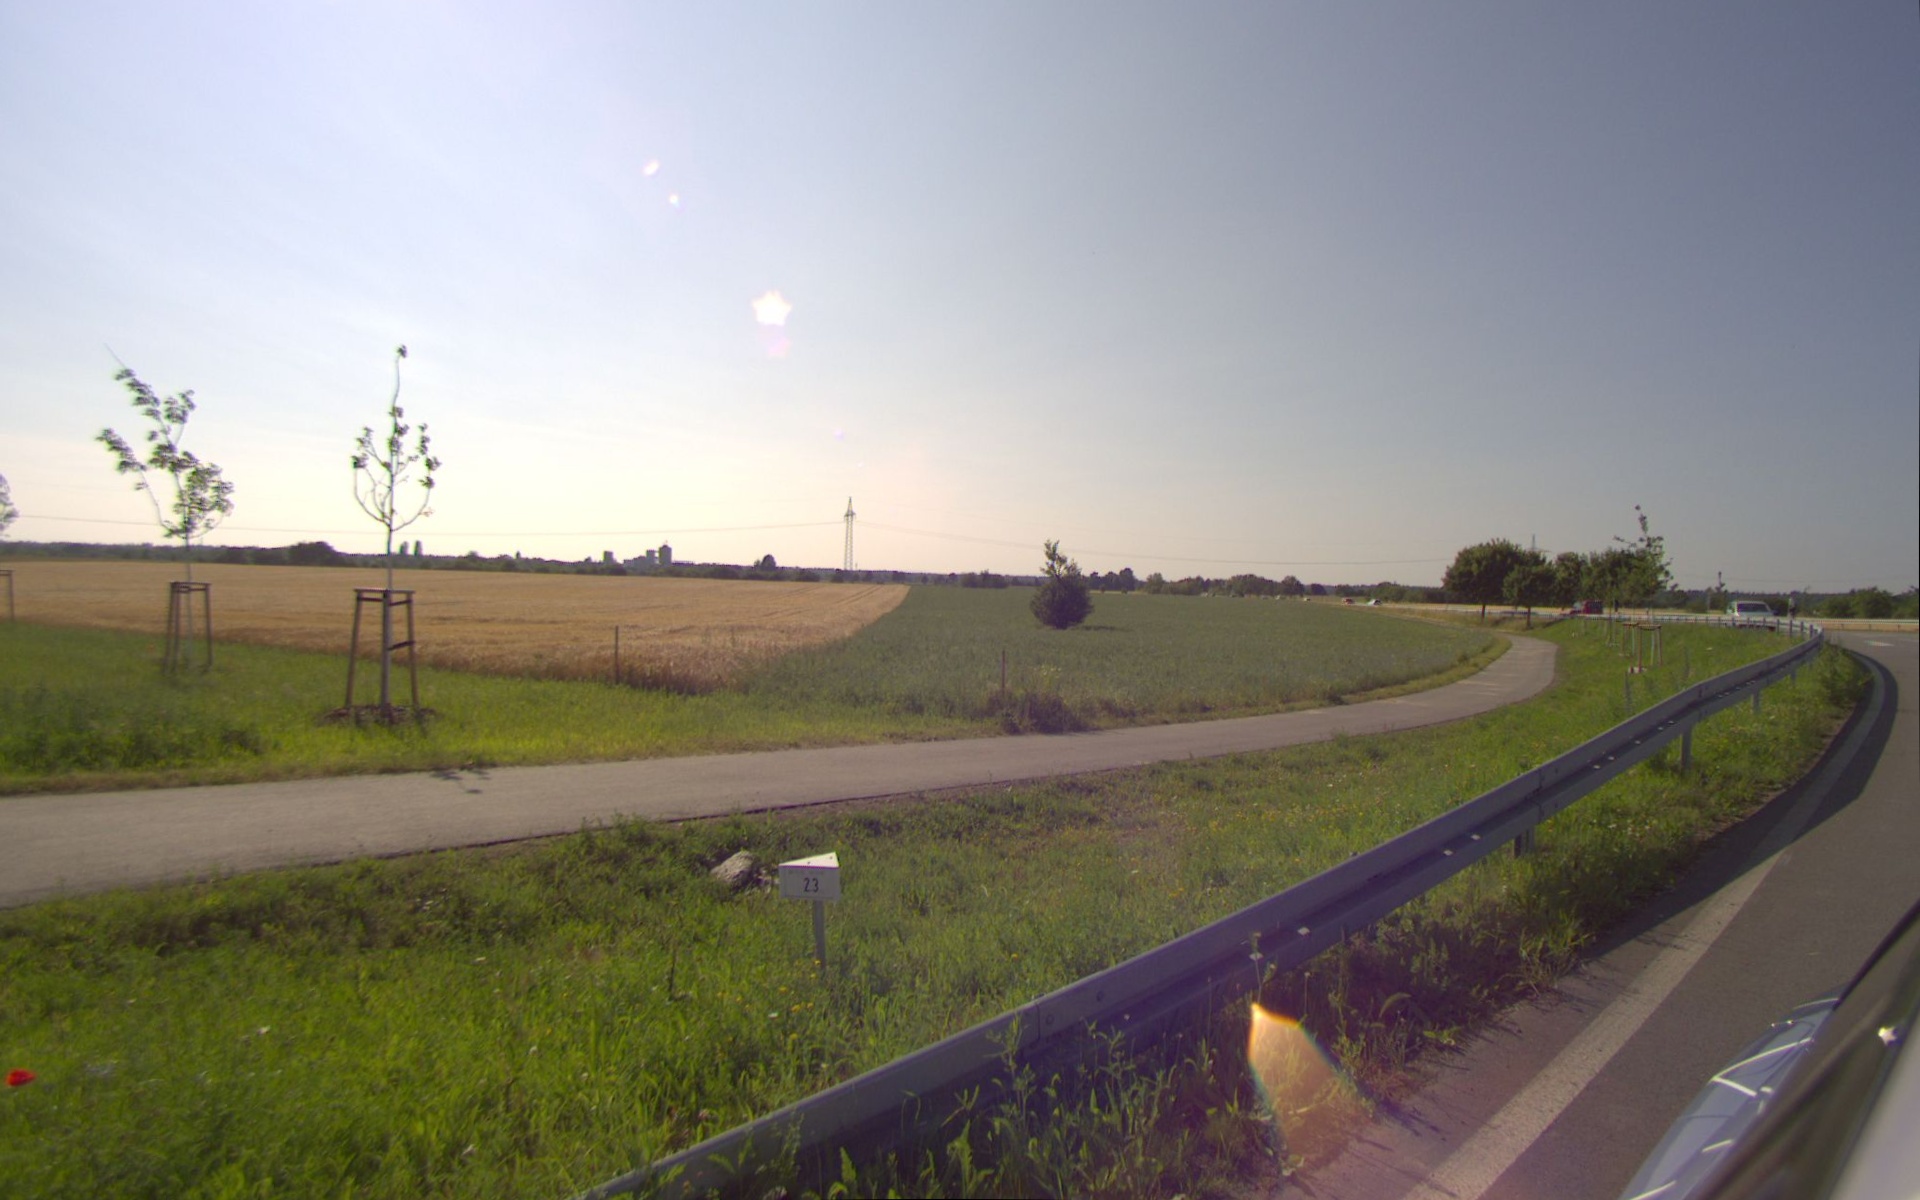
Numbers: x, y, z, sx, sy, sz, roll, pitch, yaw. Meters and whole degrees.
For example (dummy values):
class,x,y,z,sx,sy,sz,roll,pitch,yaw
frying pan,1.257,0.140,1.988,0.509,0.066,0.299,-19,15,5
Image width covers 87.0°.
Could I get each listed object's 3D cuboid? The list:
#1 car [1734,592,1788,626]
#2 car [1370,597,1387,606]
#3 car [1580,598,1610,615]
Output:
class,x,y,z,sx,sy,sz,roll,pitch,yaw
car,42.925,0.450,54.295,1.742,1.716,4.168,-1,0,31
car,81.477,0.325,197.128,1.965,1.779,3.993,1,0,6
car,69.084,0.683,110.138,1.790,1.694,3.979,0,0,17
